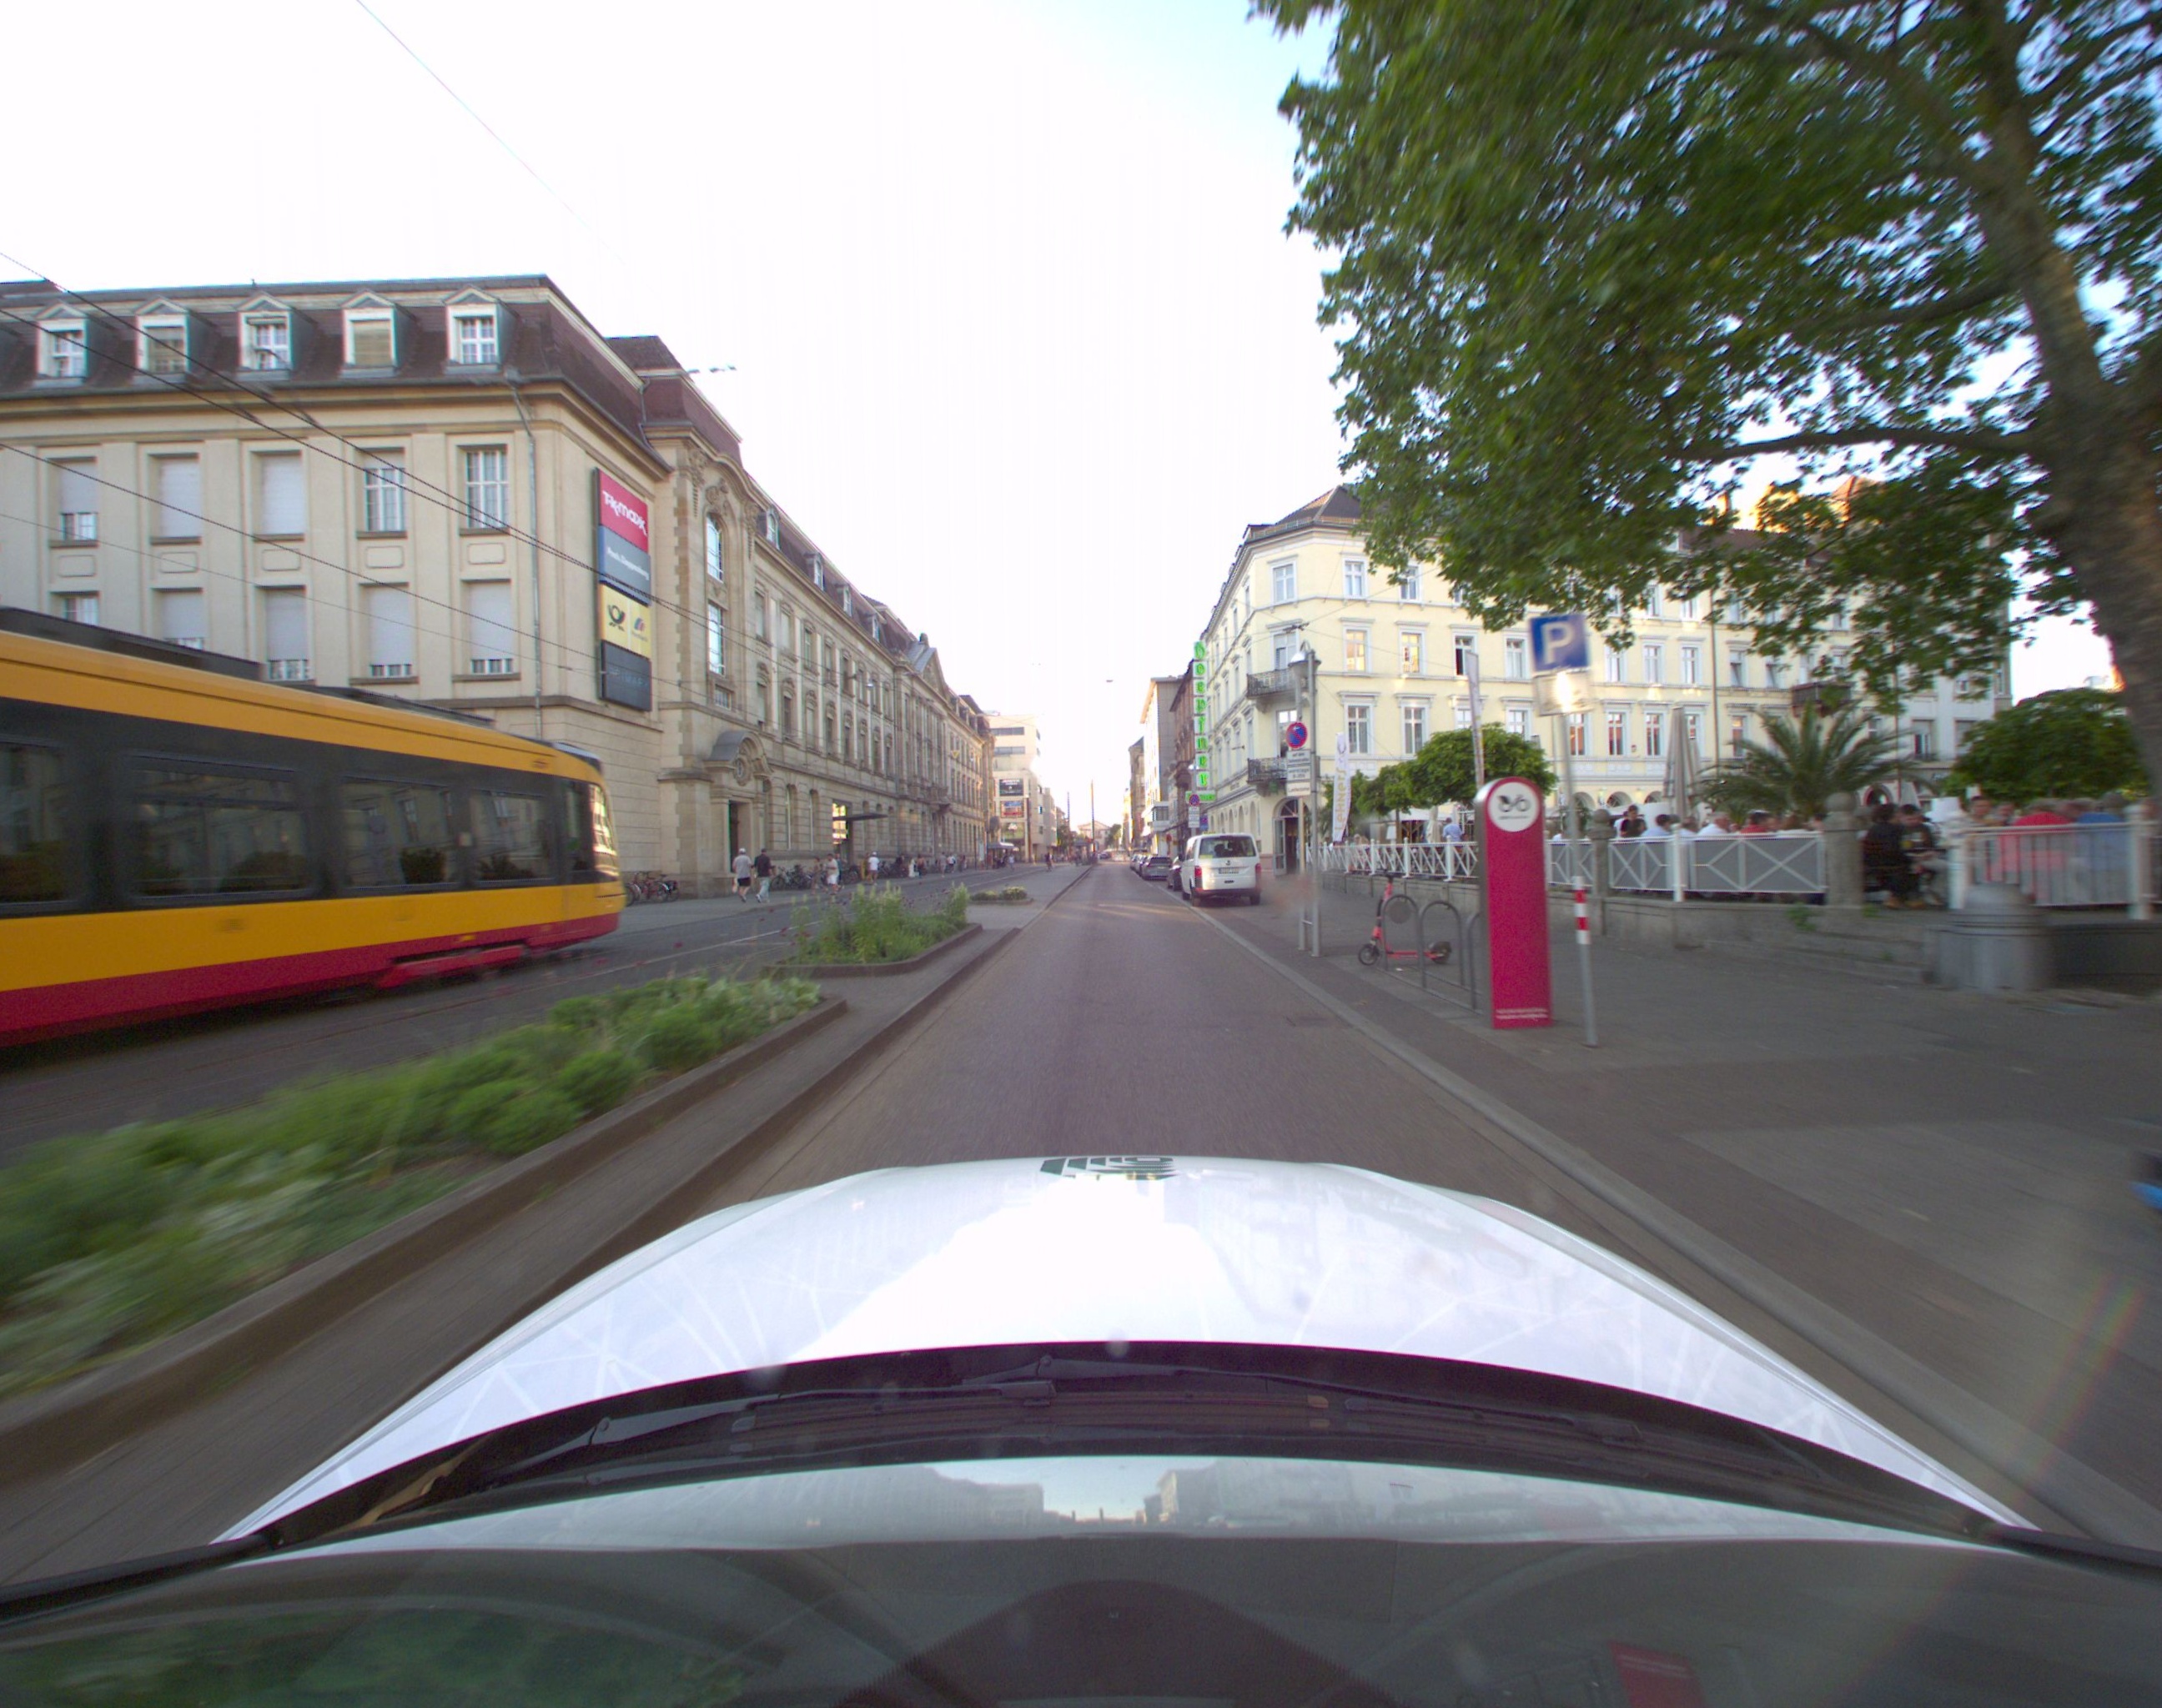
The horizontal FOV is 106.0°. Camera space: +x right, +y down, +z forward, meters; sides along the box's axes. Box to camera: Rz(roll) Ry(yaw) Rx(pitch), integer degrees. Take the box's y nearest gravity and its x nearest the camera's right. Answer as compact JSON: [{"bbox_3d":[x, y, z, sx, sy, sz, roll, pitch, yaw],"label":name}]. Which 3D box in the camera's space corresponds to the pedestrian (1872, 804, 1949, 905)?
[{"bbox_3d":[10.893,0.017,10.711,0.473,1.285,0.528,-2,-2,19],"label":"pedestrian"}]

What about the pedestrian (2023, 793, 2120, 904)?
[{"bbox_3d":[11.936,-0.052,9.835,0.470,1.285,0.542,-2,-2,18],"label":"pedestrian"}]

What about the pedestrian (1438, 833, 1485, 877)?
[{"bbox_3d":[11.546,0.036,24.746,0.960,1.267,0.906,-2,-2,1],"label":"pedestrian"}]

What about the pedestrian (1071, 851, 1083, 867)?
[{"bbox_3d":[-0.476,0.500,87.230,1.041,1.686,0.911,-2,-2,13],"label":"pedestrian"}]

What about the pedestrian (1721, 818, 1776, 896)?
[{"bbox_3d":[11.002,0.059,13.435,0.470,1.242,0.542,-2,-2,16],"label":"pedestrian"}]

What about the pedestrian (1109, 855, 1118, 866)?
[{"bbox_3d":[5.478,1.087,138.459,1.231,1.928,1.017,-1,0,-14],"label":"pedestrian"}]

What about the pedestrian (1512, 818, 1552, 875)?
[{"bbox_3d":[13.255,-0.204,23.936,0.754,1.643,0.659,-2,-2,2],"label":"pedestrian"}]

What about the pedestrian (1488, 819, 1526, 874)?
[{"bbox_3d":[13.015,-0.212,24.896,0.754,1.643,0.660,-2,-2,3],"label":"pedestrian"}]

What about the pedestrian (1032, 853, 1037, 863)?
[{"bbox_3d":[-9.272,0.730,161.467,0.845,1.928,0.909,-2,0,2],"label":"pedestrian"}]

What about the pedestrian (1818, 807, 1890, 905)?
[{"bbox_3d":[10.507,0.036,11.088,0.470,1.285,0.542,-2,-2,18],"label":"pedestrian"}]

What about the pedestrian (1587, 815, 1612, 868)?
[{"bbox_3d":[15.512,-0.358,24.367,0.505,1.548,0.581,-3,-2,27],"label":"pedestrian"}]

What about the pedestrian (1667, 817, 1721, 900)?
[{"bbox_3d":[9.717,0.077,12.917,0.470,1.285,0.542,-2,-2,16],"label":"pedestrian"}]

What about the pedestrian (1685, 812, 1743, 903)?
[{"bbox_3d":[9.576,0.057,12.339,0.470,1.330,0.542,-2,-2,16],"label":"pedestrian"}]

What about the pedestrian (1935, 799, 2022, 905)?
[{"bbox_3d":[11.320,-0.014,10.288,0.470,1.285,0.542,-2,-2,18],"label":"pedestrian"}]

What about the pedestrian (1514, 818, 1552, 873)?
[{"bbox_3d":[13.873,-0.243,25.014,0.754,1.643,0.660,-2,-2,4],"label":"pedestrian"}]

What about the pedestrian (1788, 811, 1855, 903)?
[{"bbox_3d":[10.641,0.049,11.720,0.470,1.285,0.542,-2,-2,16],"label":"pedestrian"}]

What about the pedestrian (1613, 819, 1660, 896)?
[{"bbox_3d":[9.665,0.073,14.187,0.470,1.305,0.542,-2,-2,16],"label":"pedestrian"}]

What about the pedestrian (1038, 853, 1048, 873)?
[{"bbox_3d":[-3.070,0.723,65.596,0.688,1.636,0.580,-1,0,-6],"label":"pedestrian"}]

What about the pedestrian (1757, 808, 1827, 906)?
[{"bbox_3d":[9.677,0.044,11.100,0.470,1.285,0.542,-2,-2,16],"label":"pedestrian"}]

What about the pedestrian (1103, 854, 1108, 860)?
[{"bbox_3d":[6.391,0.761,211.656,0.773,1.734,0.818,-4,-3,42],"label":"pedestrian"}]

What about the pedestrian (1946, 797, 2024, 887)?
[{"bbox_3d":[13.232,-0.166,11.931,0.535,1.285,0.477,-2,-2,11],"label":"pedestrian"}]

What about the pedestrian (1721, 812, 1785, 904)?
[{"bbox_3d":[9.662,0.063,11.726,0.470,1.285,0.542,-2,-2,16],"label":"pedestrian"}]

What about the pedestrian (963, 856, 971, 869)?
[{"bbox_3d":[-12.181,0.902,86.943,0.626,1.429,0.712,-1,0,8],"label":"pedestrian"}]

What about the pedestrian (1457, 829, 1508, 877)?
[{"bbox_3d":[11.565,-0.020,23.486,0.960,1.336,0.906,-2,-2,1],"label":"pedestrian"}]

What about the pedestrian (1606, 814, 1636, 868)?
[{"bbox_3d":[17.424,-0.402,26.261,0.513,1.712,0.572,-1,-2,-30],"label":"pedestrian"}]

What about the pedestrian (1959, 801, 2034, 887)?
[{"bbox_3d":[14.045,-0.143,12.504,0.535,1.285,0.477,-2,-2,11],"label":"pedestrian"}]

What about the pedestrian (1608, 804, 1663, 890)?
[{"bbox_3d":[10.365,-0.119,15.240,0.614,1.571,0.633,-2,-2,16],"label":"pedestrian"}]

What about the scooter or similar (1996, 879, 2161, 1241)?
[{"bbox_3d":[3.844,0.719,2.692,0.313,1.221,1.275,-2,0,9],"label":"scooter or similar"}]

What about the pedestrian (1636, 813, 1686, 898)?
[{"bbox_3d":[9.646,0.032,13.566,0.470,1.364,0.542,-2,-2,16],"label":"pedestrian"}]

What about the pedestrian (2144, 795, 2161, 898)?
[{"bbox_3d":[13.710,-0.104,10.030,0.470,1.285,0.542,-2,-2,18],"label":"pedestrian"}]

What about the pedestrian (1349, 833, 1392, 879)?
[{"bbox_3d":[8.533,0.074,24.041,0.899,1.314,0.967,-2,-2,1],"label":"pedestrian"}]

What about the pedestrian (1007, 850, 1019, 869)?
[{"bbox_3d":[-6.359,0.506,76.368,1.045,1.686,0.908,-1,0,1],"label":"pedestrian"}]

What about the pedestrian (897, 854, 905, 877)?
[{"bbox_3d":[-13.092,0.856,59.332,0.517,1.672,0.480,-1,0,-14],"label":"pedestrian"}]

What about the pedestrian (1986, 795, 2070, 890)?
[{"bbox_3d":[13.145,-0.149,11.316,0.535,1.285,0.477,-2,-2,11],"label":"pedestrian"}]

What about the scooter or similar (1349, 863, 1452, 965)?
[{"bbox_3d":[4.026,0.754,10.296,1.120,1.216,0.301,-3,0,3],"label":"scooter or similar"}]

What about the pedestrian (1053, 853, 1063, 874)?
[{"bbox_3d":[-1.857,0.752,65.705,0.670,1.636,0.761,-1,0,-6],"label":"pedestrian"}]

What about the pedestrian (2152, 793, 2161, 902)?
[{"bbox_3d":[13.013,-0.088,9.422,0.470,1.285,0.542,-2,-2,18],"label":"pedestrian"}]

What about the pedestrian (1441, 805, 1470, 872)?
[{"bbox_3d":[13.242,-0.544,28.794,0.614,2.304,0.577,-1,-2,-20],"label":"pedestrian"}]

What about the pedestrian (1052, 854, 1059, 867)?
[{"bbox_3d":[-4.101,1.055,130.014,0.907,1.928,0.847,-2,0,-15],"label":"pedestrian"}]

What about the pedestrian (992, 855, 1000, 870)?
[{"bbox_3d":[-9.199,0.939,88.491,0.777,1.580,0.676,-2,0,-10],"label":"pedestrian"}]

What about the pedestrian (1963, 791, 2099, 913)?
[{"bbox_3d":[10.525,-0.010,9.055,0.639,1.285,0.744,-2,-2,18],"label":"pedestrian"}]

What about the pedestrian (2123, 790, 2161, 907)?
[{"bbox_3d":[12.167,-0.074,8.872,0.639,1.285,0.744,-2,-2,18],"label":"pedestrian"}]

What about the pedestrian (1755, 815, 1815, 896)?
[{"bbox_3d":[11.058,0.030,12.804,0.470,1.242,0.542,-2,-2,16],"label":"pedestrian"}]

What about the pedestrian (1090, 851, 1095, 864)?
[{"bbox_3d":[1.470,0.447,103.437,0.611,1.523,0.619,-2,-2,-7],"label":"pedestrian"}]

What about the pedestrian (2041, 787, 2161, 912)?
[{"bbox_3d":[11.138,-0.041,8.797,0.639,1.285,0.744,-2,-2,18],"label":"pedestrian"}]

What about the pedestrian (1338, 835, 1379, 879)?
[{"bbox_3d":[8.553,0.104,25.169,0.899,1.306,0.967,-2,-2,1],"label":"pedestrian"}]

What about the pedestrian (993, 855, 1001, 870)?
[{"bbox_3d":[-9.086,0.935,87.775,0.773,1.580,0.676,-2,0,-10],"label":"pedestrian"}]
